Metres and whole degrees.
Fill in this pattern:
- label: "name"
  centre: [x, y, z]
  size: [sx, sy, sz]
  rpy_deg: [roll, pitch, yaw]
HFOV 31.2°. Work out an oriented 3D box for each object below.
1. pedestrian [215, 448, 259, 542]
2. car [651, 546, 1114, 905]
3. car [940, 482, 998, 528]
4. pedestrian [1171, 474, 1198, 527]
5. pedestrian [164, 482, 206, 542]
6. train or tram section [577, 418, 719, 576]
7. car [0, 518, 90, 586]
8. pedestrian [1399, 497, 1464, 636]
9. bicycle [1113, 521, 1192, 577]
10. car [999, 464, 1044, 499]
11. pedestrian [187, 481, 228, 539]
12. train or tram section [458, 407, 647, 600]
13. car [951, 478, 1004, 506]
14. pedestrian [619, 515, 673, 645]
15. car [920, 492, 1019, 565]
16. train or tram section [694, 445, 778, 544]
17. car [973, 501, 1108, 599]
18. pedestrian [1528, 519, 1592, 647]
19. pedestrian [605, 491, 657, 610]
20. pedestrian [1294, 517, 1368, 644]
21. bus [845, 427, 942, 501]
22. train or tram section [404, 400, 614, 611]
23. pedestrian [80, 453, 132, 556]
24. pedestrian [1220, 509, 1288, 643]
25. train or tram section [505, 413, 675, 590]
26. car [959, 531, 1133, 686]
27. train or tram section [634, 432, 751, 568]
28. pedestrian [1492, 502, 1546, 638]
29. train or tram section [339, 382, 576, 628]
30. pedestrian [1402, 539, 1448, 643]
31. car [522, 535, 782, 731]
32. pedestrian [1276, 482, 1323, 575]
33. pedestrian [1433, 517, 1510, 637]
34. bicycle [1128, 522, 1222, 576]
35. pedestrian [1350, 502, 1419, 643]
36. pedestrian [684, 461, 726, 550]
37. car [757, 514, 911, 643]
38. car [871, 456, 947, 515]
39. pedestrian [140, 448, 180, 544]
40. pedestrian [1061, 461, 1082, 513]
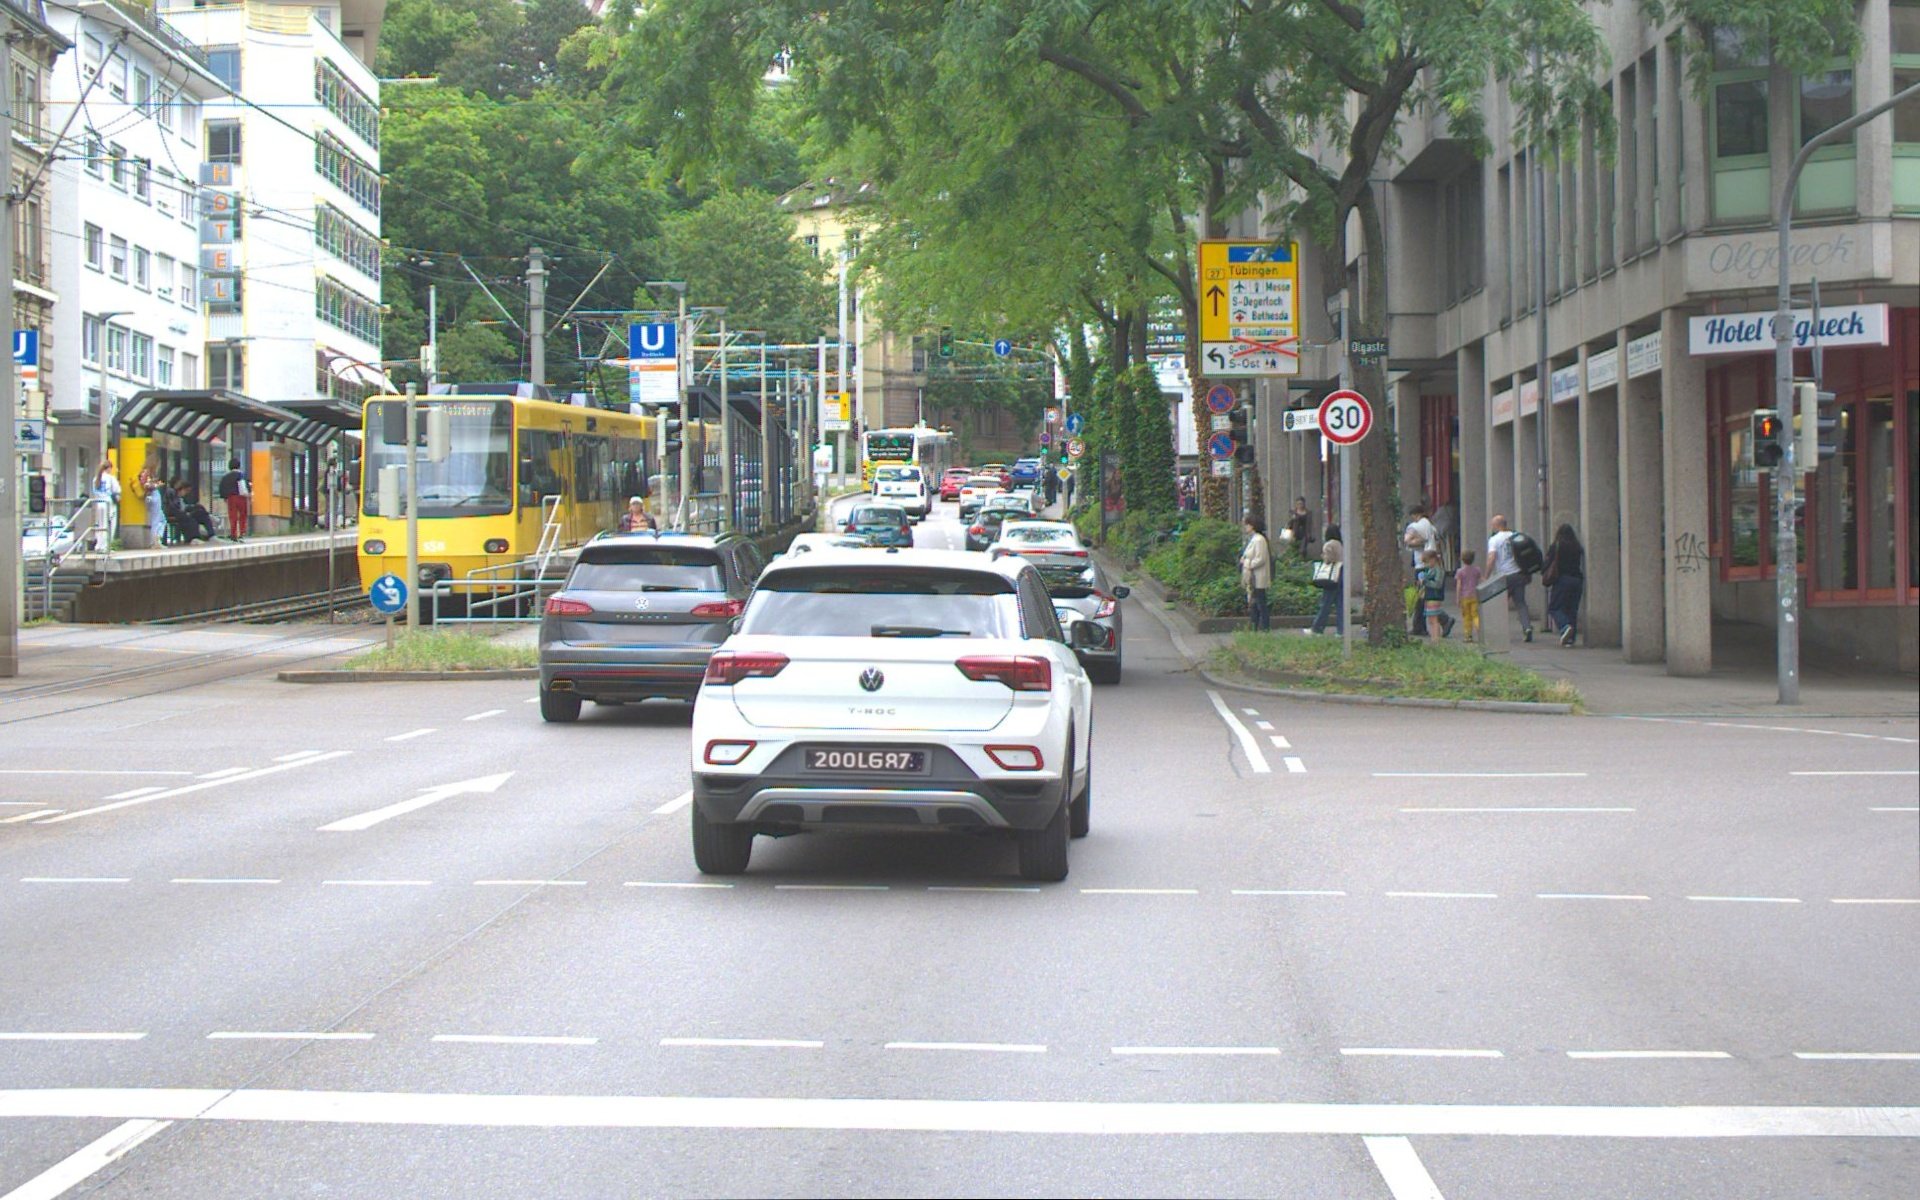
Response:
- label: "pedestrian"
  centre: [-13.603, -1.973, 64.704]
  size: [0.627, 1.756, 0.846]
  rpy_deg: [0, 1, 1]
- label: "car"
  centre: [-0.260, 0.523, 17.464]
  size: [1.838, 1.578, 4.156]
  rpy_deg: [0, 1, 6]
- label: "car"
  centre: [0.345, -3.621, 131.853]
  size: [1.884, 1.678, 4.162]
  rpy_deg: [1, 1, -4]
- label: "pedestrian"
  centre: [6.978, -3.094, 107.006]
  size: [0.635, 1.609, 0.588]
  rpy_deg: [1, 1, -20]
- label: "pedestrian"
  centre: [-14.485, -1.648, 64.272]
  size: [0.635, 1.103, 0.690]
  rpy_deg: [0, 2, 0]
- label: "train or tram section"
  centre: [-7.557, -2.508, 83.876]
  size: [2.813, 3.653, 5.903]
  rpy_deg: [1, 2, 1]
- label: "car"
  centre: [-21.330, -1.110, 79.117]
  size: [1.559, 1.518, 3.600]
  rpy_deg: [1, 1, 2]
- label: "pedestrian"
  centre: [6.398, -0.454, 46.710]
  size: [0.733, 1.868, 0.733]
  rpy_deg: [0, 1, -4]
- label: "bicycle"
  centre: [4.065, -1.082, 72.672]
  size: [1.620, 1.124, 0.613]
  rpy_deg: [-2, 2, 4]
- label: "car"
  centre: [3.161, -6.070, 176.415]
  size: [1.885, 1.678, 4.160]
  rpy_deg: [1, 1, 7]
- label: "pedestrian"
  centre: [-14.388, -1.727, 65.770]
  size: [0.635, 1.103, 0.690]
  rpy_deg: [0, 2, 0]
- label: "train or tram section"
  centre: [-7.806, -1.871, 66.504]
  size: [2.835, 3.508, 5.752]
  rpy_deg: [1, 2, 1]
- label: "car"
  centre: [0.811, -4.839, 154.120]
  size: [1.583, 1.168, 3.676]
  rpy_deg: [1, 1, 13]
- label: "pedestrian"
  centre: [-4.187, -0.276, 45.915]
  size: [0.635, 1.705, 0.871]
  rpy_deg: [0, 2, 0]
- label: "car"
  centre: [0.231, -2.033, 98.727]
  size: [2.364, 2.007, 5.149]
  rpy_deg: [1, 1, -5]
- label: "train or tram section"
  centre: [-8.529, -4.037, 131.394]
  size: [2.813, 3.653, 6.752]
  rpy_deg: [1, 2, -1]
- label: "car"
  centre: [1.427, -0.908, 62.445]
  size: [1.884, 1.678, 4.162]
  rpy_deg: [1, 1, -6]
- label: "pedestrian"
  centre: [7.759, -0.222, 44.425]
  size: [0.762, 1.606, 0.618]
  rpy_deg: [-1, 4, 12]
- label: "pedestrian"
  centre: [-4.753, -0.722, 49.729]
  size: [0.685, 1.705, 0.712]
  rpy_deg: [0, 2, 0]
- label: "pedestrian"
  centre: [5.097, -0.276, 47.259]
  size: [0.835, 1.698, 0.764]
  rpy_deg: [-2, 2, -4]
- label: "bus"
  centre: [-3.024, -6.300, 161.297]
  size: [3.372, 3.054, 13.323]
  rpy_deg: [1, 1, 4]
- label: "train or tram section"
  centre: [-7.879, -1.676, 60.751]
  size: [2.835, 3.508, 5.752]
  rpy_deg: [1, 2, 1]
- label: "pedestrian"
  centre: [-14.216, -1.592, 57.243]
  size: [0.688, 1.705, 0.662]
  rpy_deg: [0, 2, 0]
- label: "pedestrian"
  centre: [3.993, -0.332, 46.780]
  size: [0.693, 1.771, 0.690]
  rpy_deg: [-4, 1, -4]
- label: "train or tram section"
  centre: [-7.709, -2.078, 72.283]
  size: [2.835, 3.508, 5.752]
  rpy_deg: [1, 2, 1]
- label: "car"
  centre: [0.949, 0.065, 39.982]
  size: [1.885, 1.678, 4.161]
  rpy_deg: [1, 1, 0]
- label: "train or tram section"
  centre: [-7.487, -2.830, 96.913]
  size: [2.813, 3.653, 6.752]
  rpy_deg: [1, 2, -1]
- label: "pedestrian"
  centre: [7.418, -0.396, 45.660]
  size: [0.518, 1.783, 0.764]
  rpy_deg: [1, 1, -4]
- label: "train or tram section"
  centre: [-7.945, -1.526, 54.986]
  size: [2.835, 3.666, 5.752]
  rpy_deg: [1, 2, 1]
- label: "pedestrian"
  centre: [6.024, -0.120, 44.590]
  size: [0.471, 1.329, 0.520]
  rpy_deg: [1, 1, -4]
- label: "car"
  centre: [-2.683, 0.246, 30.809]
  size: [1.993, 1.630, 4.000]
  rpy_deg: [0, 1, 0]
- label: "pedestrian"
  centre: [6.712, -1.420, 68.015]
  size: [0.762, 1.776, 0.848]
  rpy_deg: [-2, 4, -5]
- label: "pedestrian"
  centre: [6.782, -0.308, 45.600]
  size: [0.835, 1.557, 0.764]
  rpy_deg: [1, 1, -4]
- label: "bicycle"
  centre: [4.615, -1.100, 73.885]
  size: [1.915, 1.073, 0.613]
  rpy_deg: [-2, 2, -2]
- label: "pedestrian"
  centre: [5.617, -0.368, 45.506]
  size: [0.721, 1.796, 0.835]
  rpy_deg: [-2, 4, -4]
- label: "pedestrian"
  centre: [-5.010, -1.845, 67.515]
  size: [0.717, 1.725, 0.671]
  rpy_deg: [1, 1, 2]
- label: "car"
  centre: [-1.794, -0.347, 50.074]
  size: [1.912, 1.683, 4.000]
  rpy_deg: [2, 3, 2]
- label: "car"
  centre: [-1.837, -4.197, 126.453]
  size: [2.365, 2.007, 5.147]
  rpy_deg: [1, 1, 4]
- label: "pedestrian"
  centre: [-14.278, -1.861, 61.338]
  size: [0.635, 1.705, 0.690]
  rpy_deg: [0, 2, -8]
- label: "pedestrian"
  centre: [4.387, -4.443, 135.133]
  size: [0.762, 2.007, 0.838]
  rpy_deg: [1, 1, 5]
